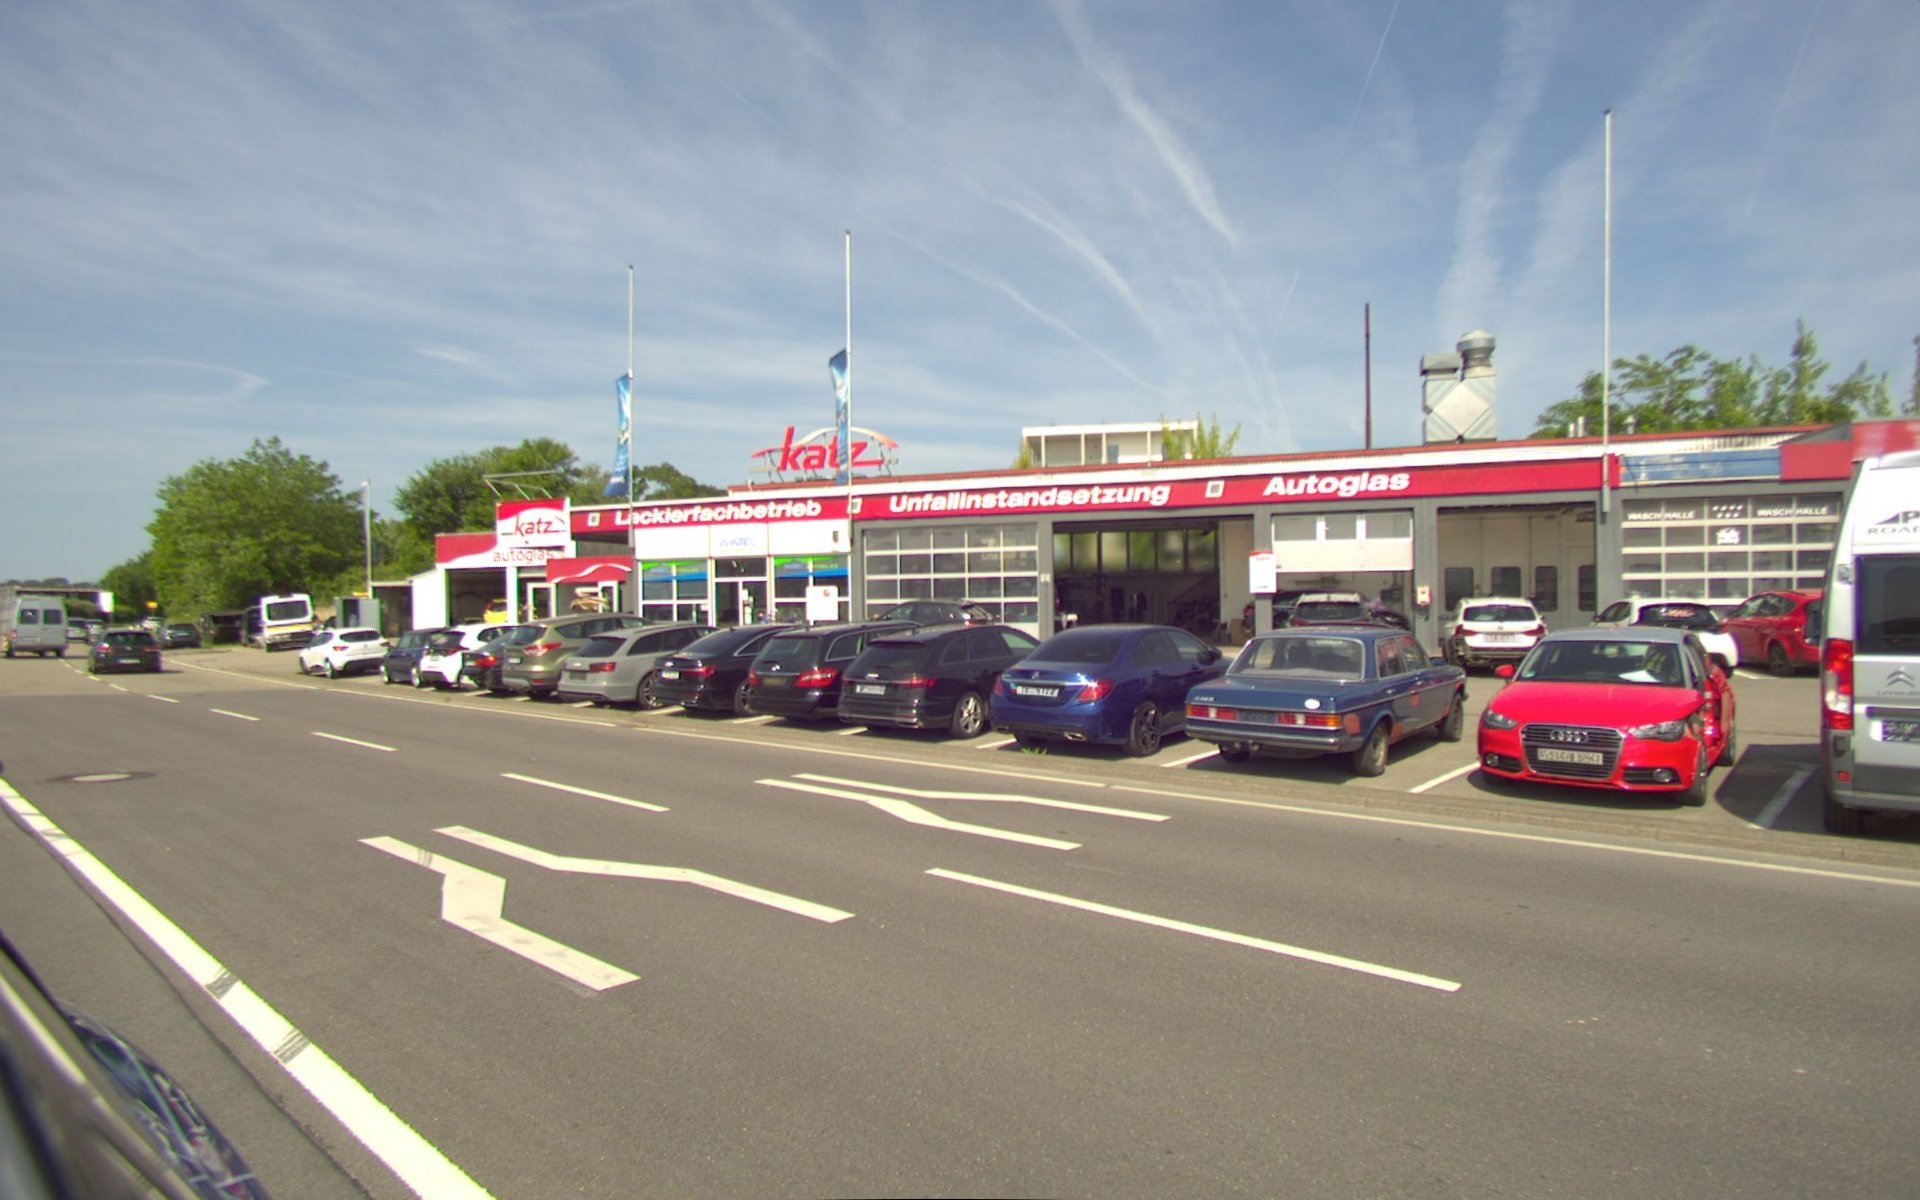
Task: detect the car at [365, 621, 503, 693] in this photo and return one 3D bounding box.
[{"bbox_3d":[-13.809,1.420,26.468,4.001,1.567,1.972,-1,3,44],"label":"car"}]

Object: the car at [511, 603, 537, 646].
[{"bbox_3d":[-19.158,1.057,44.417,0.868,1.850,0.847,0,-1,-36],"label":"car"}]

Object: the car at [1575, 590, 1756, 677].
[{"bbox_3d":[13.789,0.618,20.063,1.869,1.531,3.920,-1,-1,18],"label":"car"}]

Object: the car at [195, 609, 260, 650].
[{"bbox_3d":[-43.970,1.758,60.688,2.405,2.281,5.343,-1,-1,-44],"label":"car"}]

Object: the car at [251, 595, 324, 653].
[{"bbox_3d":[-31.935,1.127,48.223,2.399,2.563,6.060,-1,-1,-29],"label":"car"}]

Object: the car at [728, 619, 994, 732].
[{"bbox_3d":[-1.460,1.069,15.834,1.949,1.511,3.826,-1,-1,43],"label":"car"}]

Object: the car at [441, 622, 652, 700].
[{"bbox_3d":[-9.209,1.290,22.748,1.998,1.537,3.947,-1,-1,39],"label":"car"}]

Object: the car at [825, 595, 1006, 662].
[{"bbox_3d":[-1.198,0.756,27.037,4.508,1.667,1.860,-1,-1,24],"label":"car"}]

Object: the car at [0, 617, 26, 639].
[{"bbox_3d":[-79.765,2.350,84.608,2.023,1.837,4.517,2,-3,-38],"label":"car"}]

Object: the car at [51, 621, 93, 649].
[{"bbox_3d":[-60.061,2.353,68.408,2.024,1.837,4.514,2,-3,-42],"label":"car"}]

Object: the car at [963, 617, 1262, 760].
[{"bbox_3d":[2.038,0.963,12.682,1.905,1.465,3.945,-1,-1,41],"label":"car"}]

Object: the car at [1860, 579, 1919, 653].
[{"bbox_3d":[22.672,0.337,23.288,1.858,1.574,4.067,-1,1,26],"label":"car"}]

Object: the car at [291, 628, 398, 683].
[{"bbox_3d":[-18.850,1.644,30.919,4.000,1.425,1.742,-1,2,43],"label":"car"}]

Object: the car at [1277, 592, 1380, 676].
[{"bbox_3d":[8.019,0.686,21.820,1.864,1.631,3.969,-1,-1,23],"label":"car"}]

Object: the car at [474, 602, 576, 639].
[{"bbox_3d":[-20.919,0.958,48.829,1.863,1.667,4.502,-1,-1,22],"label":"car"}]

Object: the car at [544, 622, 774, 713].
[{"bbox_3d":[-5.596,1.185,19.205,1.737,1.504,3.925,-1,-1,38],"label":"car"}]

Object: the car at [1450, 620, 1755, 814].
[{"bbox_3d":[6.318,0.931,9.760,1.827,1.442,3.896,-1,-1,42],"label":"car"}]

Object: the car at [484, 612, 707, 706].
[{"bbox_3d":[-7.471,1.130,20.983,1.871,1.740,3.944,-1,-1,43],"label":"car"}]

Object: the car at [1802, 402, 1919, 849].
[{"bbox_3d":[8.255,0.164,7.991,2.177,2.794,5.506,-1,-1,42],"label":"car"}]

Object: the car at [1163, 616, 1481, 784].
[{"bbox_3d":[4.159,0.930,11.218,1.873,1.479,4.202,-1,-1,42],"label":"car"}]

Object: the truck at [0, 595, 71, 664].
[{"bbox_3d":[-41.169,1.280,44.448,6.038,2.858,2.410,-1,-1,41],"label":"truck"}]

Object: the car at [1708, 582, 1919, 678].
[{"bbox_3d":[16.171,0.532,19.263,1.902,1.630,3.975,-1,-1,18],"label":"car"}]

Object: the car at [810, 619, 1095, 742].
[{"bbox_3d":[0.014,1.020,14.411,1.945,1.463,3.945,-1,-1,41],"label":"car"}]

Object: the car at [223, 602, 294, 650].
[{"bbox_3d":[-39.503,1.447,56.916,2.405,2.563,5.343,-1,-1,-44],"label":"car"}]

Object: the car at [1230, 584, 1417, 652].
[{"bbox_3d":[9.620,0.483,26.818,4.447,1.667,1.858,-1,-1,28],"label":"car"}]

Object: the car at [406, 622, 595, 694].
[{"bbox_3d":[-11.137,1.340,24.702,1.940,1.562,3.750,-1,-1,40],"label":"car"}]

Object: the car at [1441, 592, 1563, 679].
[{"bbox_3d":[11.095,0.686,20.968,1.977,1.619,3.966,-1,-1,25],"label":"car"}]

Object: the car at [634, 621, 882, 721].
[{"bbox_3d":[-3.398,1.131,17.526,1.756,1.493,3.943,-1,-1,43],"label":"car"}]

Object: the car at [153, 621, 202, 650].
[{"bbox_3d":[-43.315,1.975,56.000,1.801,1.538,4.464,2,-3,-42],"label":"car"}]

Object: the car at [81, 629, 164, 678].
[{"bbox_3d":[-27.701,1.730,33.436,1.832,1.471,4.003,0,-1,-44],"label":"car"}]

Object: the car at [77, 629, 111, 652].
[{"bbox_3d":[-69.471,3.233,81.163,1.947,1.837,4.207,2,-3,-42],"label":"car"}]
